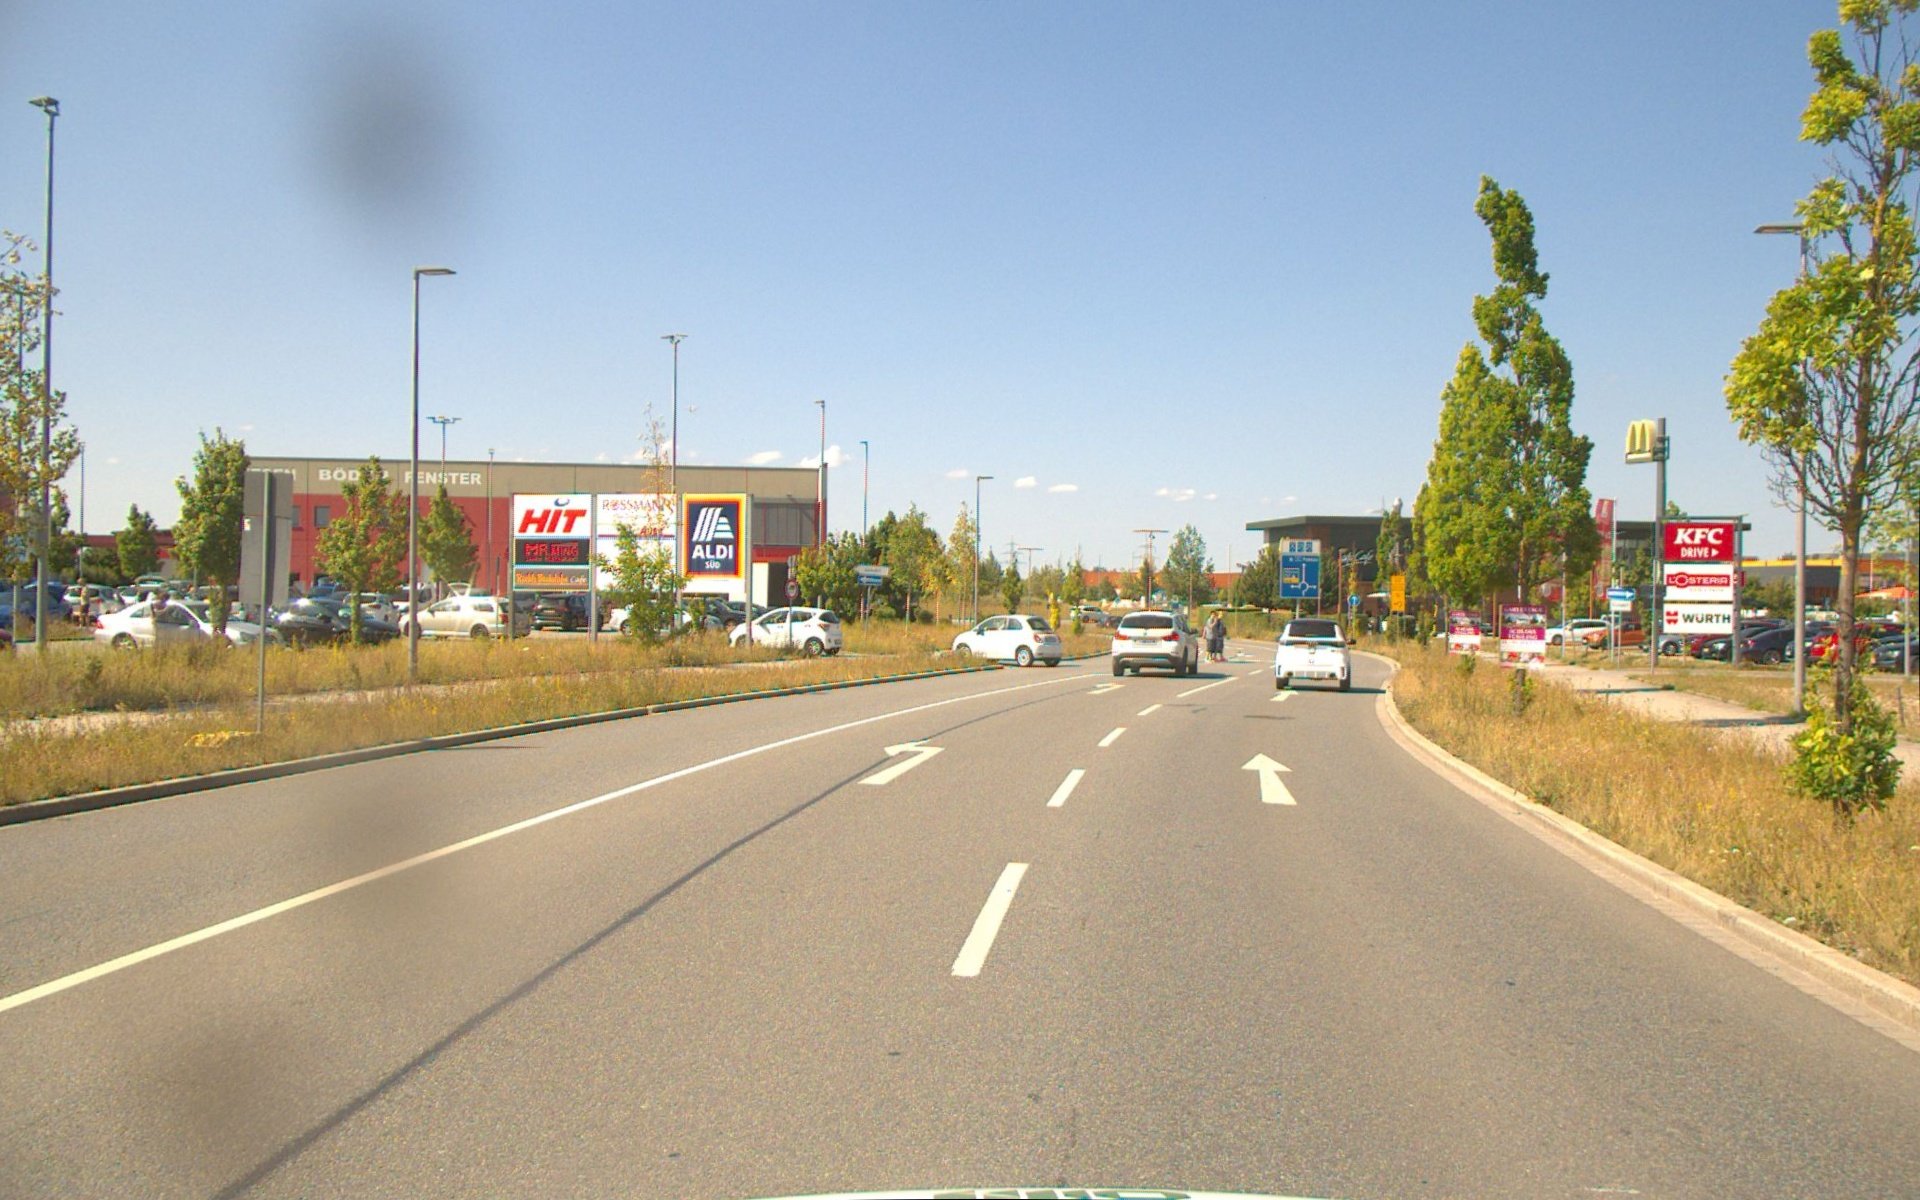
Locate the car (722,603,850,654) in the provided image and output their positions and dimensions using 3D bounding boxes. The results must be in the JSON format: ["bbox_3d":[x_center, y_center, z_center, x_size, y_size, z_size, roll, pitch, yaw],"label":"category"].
[{"bbox_3d":[-5.522,0.911,52.665,3.690,1.578,1.743,0,0,13],"label":"car"}]

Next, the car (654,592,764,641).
[{"bbox_3d":[-10.885,0.712,71.985,4.375,2.073,2.001,0,0,5],"label":"car"}]

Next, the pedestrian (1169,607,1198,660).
[{"bbox_3d":[7.215,1.065,53.288,0.654,1.693,0.707,0,0,40],"label":"pedestrian"}]

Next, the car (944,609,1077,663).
[{"bbox_3d":[1.513,1.068,50.019,3.709,1.578,1.734,0,0,37],"label":"car"}]

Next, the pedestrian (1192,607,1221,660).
[{"bbox_3d":[7.887,1.060,52.982,0.654,1.693,0.707,0,0,40],"label":"pedestrian"}]

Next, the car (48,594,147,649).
[{"bbox_3d":[-34.257,0.827,65.831,1.955,2.073,4.479,0,0,-6],"label":"car"}]

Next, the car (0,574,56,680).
[{"bbox_3d":[-20.377,0.508,32.786,4.037,2.049,1.884,0,0,12],"label":"car"}]

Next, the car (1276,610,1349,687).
[{"bbox_3d":[7.633,1.008,35.652,1.443,1.516,3.003,1,0,14],"label":"car"}]

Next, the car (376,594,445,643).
[{"bbox_3d":[-24.254,0.788,73.151,1.955,2.073,4.479,0,0,-6],"label":"car"}]

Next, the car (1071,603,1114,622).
[{"bbox_3d":[13.179,1.235,164.270,3.947,1.758,1.979,0,0,-32],"label":"car"}]

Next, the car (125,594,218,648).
[{"bbox_3d":[-31.569,0.813,66.355,1.955,2.073,4.479,0,0,-6],"label":"car"}]

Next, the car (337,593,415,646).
[{"bbox_3d":[-23.646,0.772,67.110,1.955,2.073,4.479,0,0,-6],"label":"car"}]

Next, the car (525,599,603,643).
[{"bbox_3d":[-16.949,0.884,71.009,1.951,1.792,4.487,0,0,4],"label":"car"}]

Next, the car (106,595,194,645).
[{"bbox_3d":[-34.894,0.842,71.379,1.955,2.073,4.479,0,0,-6],"label":"car"}]

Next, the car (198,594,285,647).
[{"bbox_3d":[-29.060,0.801,67.045,1.955,2.073,4.479,0,0,-6],"label":"car"}]

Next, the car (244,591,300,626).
[{"bbox_3d":[-42.219,0.536,101.617,1.955,2.073,4.479,0,0,-6],"label":"car"}]

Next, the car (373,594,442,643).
[{"bbox_3d":[-24.378,0.788,73.121,1.955,2.073,4.479,0,0,-6],"label":"car"}]

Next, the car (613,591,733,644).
[{"bbox_3d":[-11.605,0.706,67.018,4.375,2.073,2.001,0,0,5],"label":"car"}]

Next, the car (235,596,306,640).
[{"bbox_3d":[-33.408,0.852,80.246,1.955,2.073,4.479,0,0,-6],"label":"car"}]

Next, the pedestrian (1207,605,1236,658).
[{"bbox_3d":[8.460,1.007,53.485,0.654,1.693,0.707,0,0,40],"label":"pedestrian"}]

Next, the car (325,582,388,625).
[{"bbox_3d":[-30.590,0.176,84.014,1.955,2.073,4.479,0,0,-6],"label":"car"}]

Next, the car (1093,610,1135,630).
[{"bbox_3d":[12.733,1.666,136.913,1.799,1.568,3.969,0,0,-24],"label":"car"}]

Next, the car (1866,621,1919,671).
[{"bbox_3d":[30.141,1.400,49.972,4.422,1.484,2.002,0,0,9],"label":"car"}]

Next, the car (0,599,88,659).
[{"bbox_3d":[-29.616,0.902,52.499,1.955,1.815,4.310,0,0,-6],"label":"car"}]

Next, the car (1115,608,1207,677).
[{"bbox_3d":[5.013,1.001,40.824,1.699,1.578,4.574,0,0,14],"label":"car"}]

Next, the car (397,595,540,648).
[{"bbox_3d":[-16.667,0.706,56.122,4.378,1.745,2.000,0,0,21],"label":"car"}]
